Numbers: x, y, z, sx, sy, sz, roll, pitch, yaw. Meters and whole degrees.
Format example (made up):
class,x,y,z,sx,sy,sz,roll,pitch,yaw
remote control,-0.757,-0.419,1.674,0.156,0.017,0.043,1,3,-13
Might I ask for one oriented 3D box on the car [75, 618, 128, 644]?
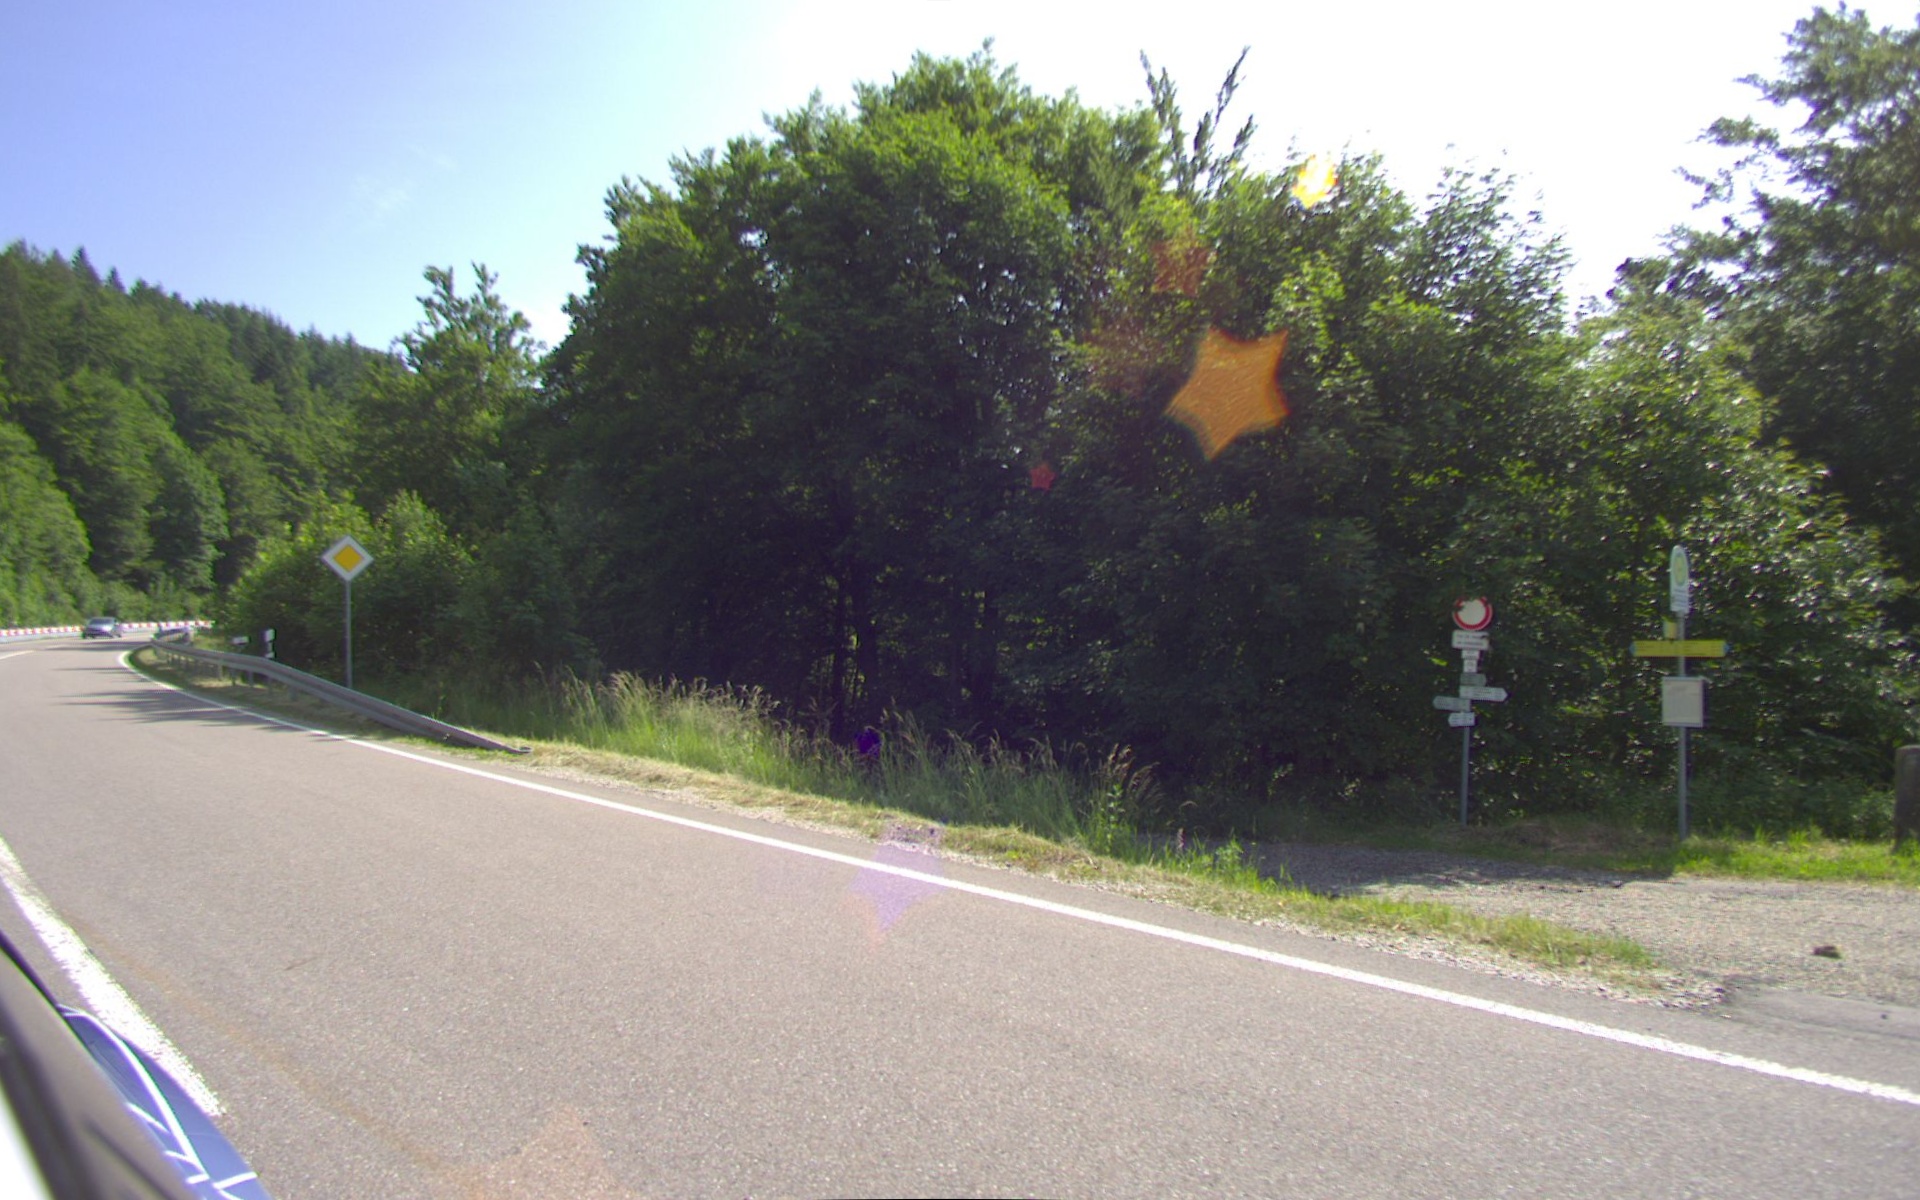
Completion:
class,x,y,z,sx,sy,sz,roll,pitch,yaw
car,-59.326,2.104,70.022,1.966,1.655,4.013,-2,0,-28
